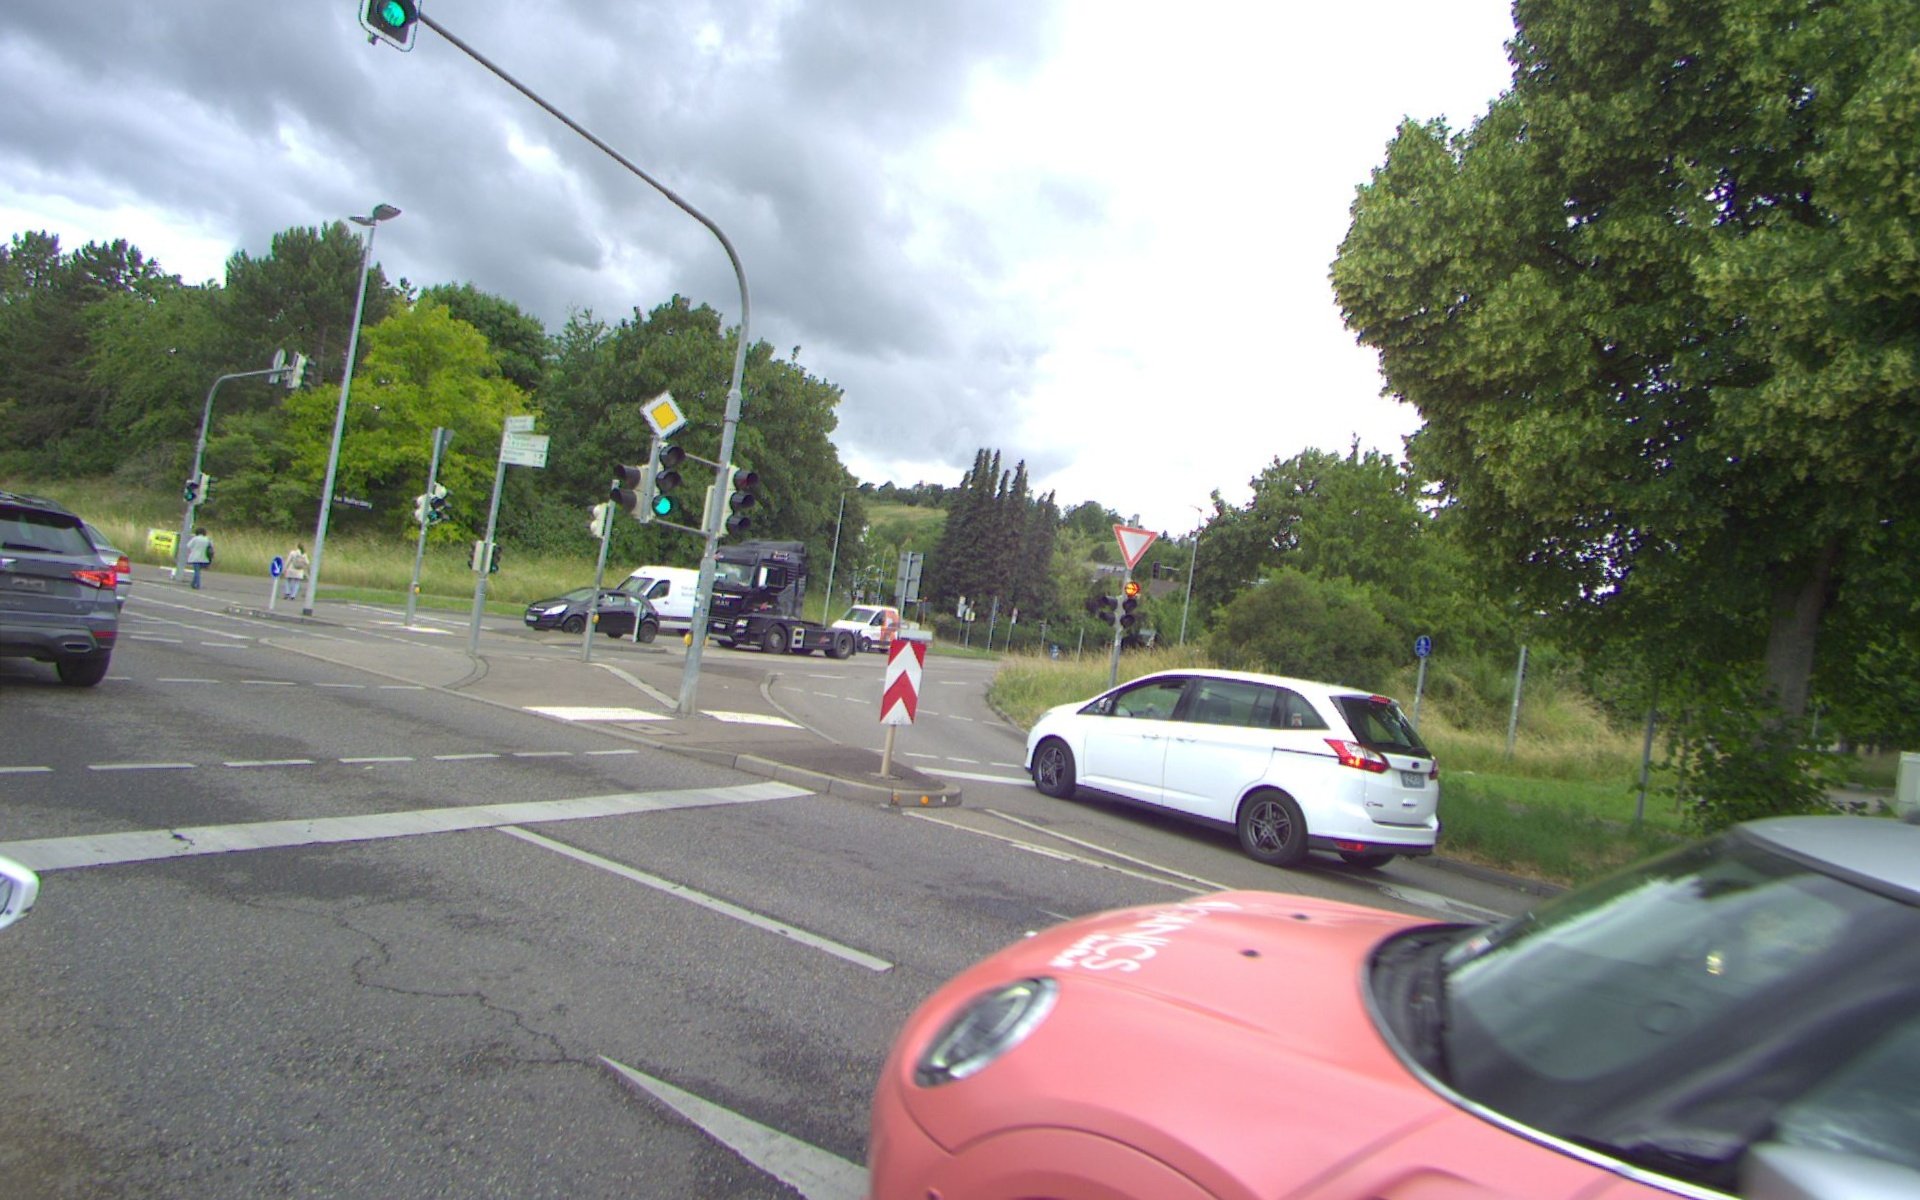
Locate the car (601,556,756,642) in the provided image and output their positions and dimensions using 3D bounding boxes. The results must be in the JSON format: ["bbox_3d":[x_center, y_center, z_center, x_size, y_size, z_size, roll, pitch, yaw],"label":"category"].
[{"bbox_3d":[-11.076,0.049,40.072,1.968,2.660,5.814,6,-2,34],"label":"car"}]

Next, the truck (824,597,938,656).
[{"bbox_3d":[-3.873,1.368,50.606,2.128,2.255,6.028,6,-2,35],"label":"truck"}]

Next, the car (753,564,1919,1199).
[{"bbox_3d":[1.578,0.961,1.742,3.437,1.523,1.824,7,-1,33],"label":"car"}]

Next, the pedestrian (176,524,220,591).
[{"bbox_3d":[-20.613,-1.154,27.210,0.703,1.681,0.644,6,-1,39],"label":"pedestrian"}]

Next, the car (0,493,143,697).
[{"bbox_3d":[-8.760,-0.232,8.466,3.773,1.511,1.627,7,-2,31],"label":"car"}]

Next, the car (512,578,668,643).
[{"bbox_3d":[-10.543,0.335,28.931,1.669,1.353,3.882,6,-3,34],"label":"car"}]

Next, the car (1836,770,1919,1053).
[{"bbox_3d":[7.178,2.009,5.401,3.511,1.524,1.603,6,-2,38],"label":"car"}]

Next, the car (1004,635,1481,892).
[{"bbox_3d":[2.592,1.477,10.217,1.752,1.673,4.325,10,-3,-37],"label":"car"}]

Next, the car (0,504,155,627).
[{"bbox_3d":[-13.570,-0.629,14.421,4.219,1.398,1.750,7,-2,32],"label":"car"}]

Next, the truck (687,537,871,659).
[{"bbox_3d":[-6.204,0.029,35.397,2.648,3.527,6.004,6,-1,34],"label":"truck"}]

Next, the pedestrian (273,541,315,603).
[{"bbox_3d":[-18.725,-0.791,28.284,0.703,1.630,0.644,6,-1,37],"label":"pedestrian"}]
